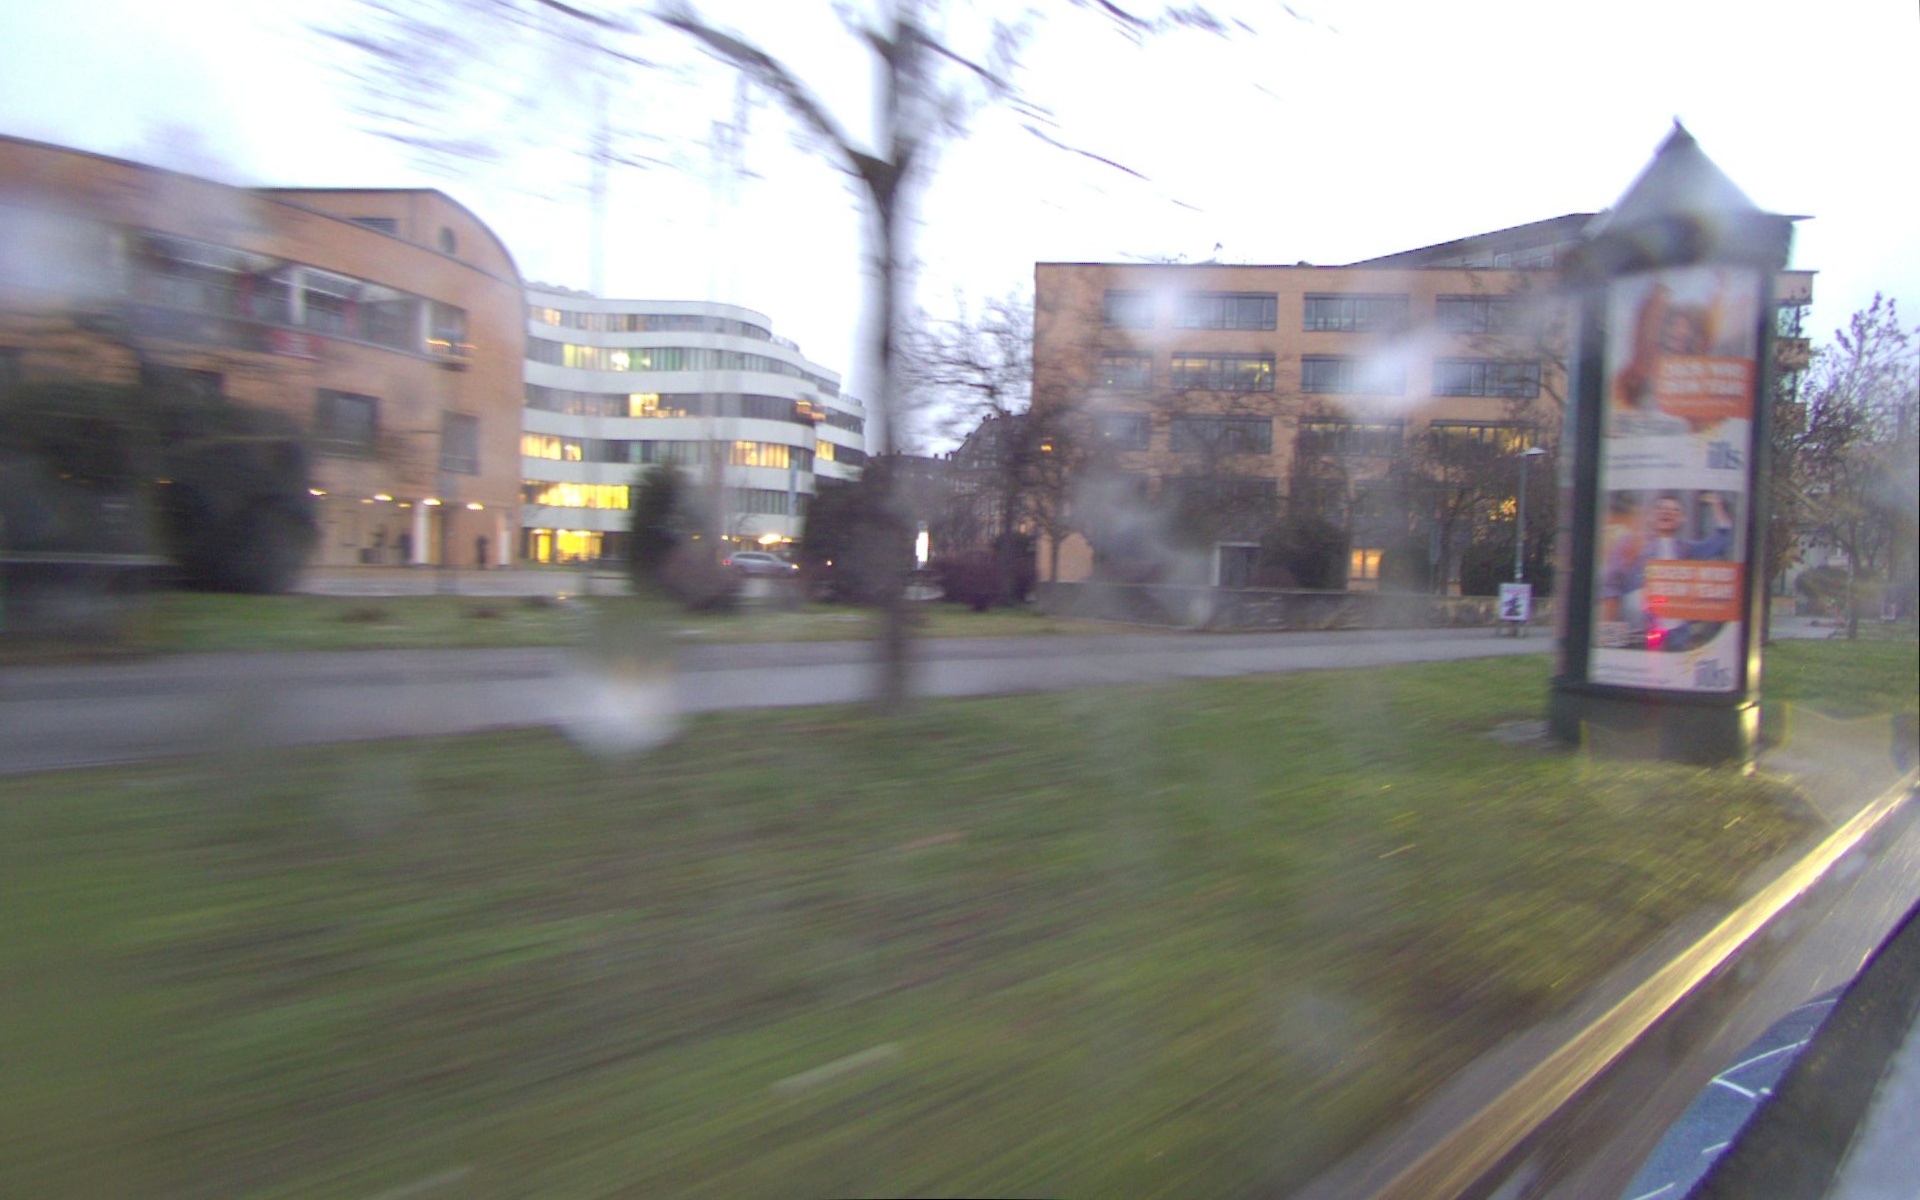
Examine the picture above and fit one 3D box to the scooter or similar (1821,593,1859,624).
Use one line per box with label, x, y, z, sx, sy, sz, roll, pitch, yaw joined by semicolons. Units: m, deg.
scooter or similar;37.658;0.367;43.317;1.138;1.247;0.482;3;2;34
